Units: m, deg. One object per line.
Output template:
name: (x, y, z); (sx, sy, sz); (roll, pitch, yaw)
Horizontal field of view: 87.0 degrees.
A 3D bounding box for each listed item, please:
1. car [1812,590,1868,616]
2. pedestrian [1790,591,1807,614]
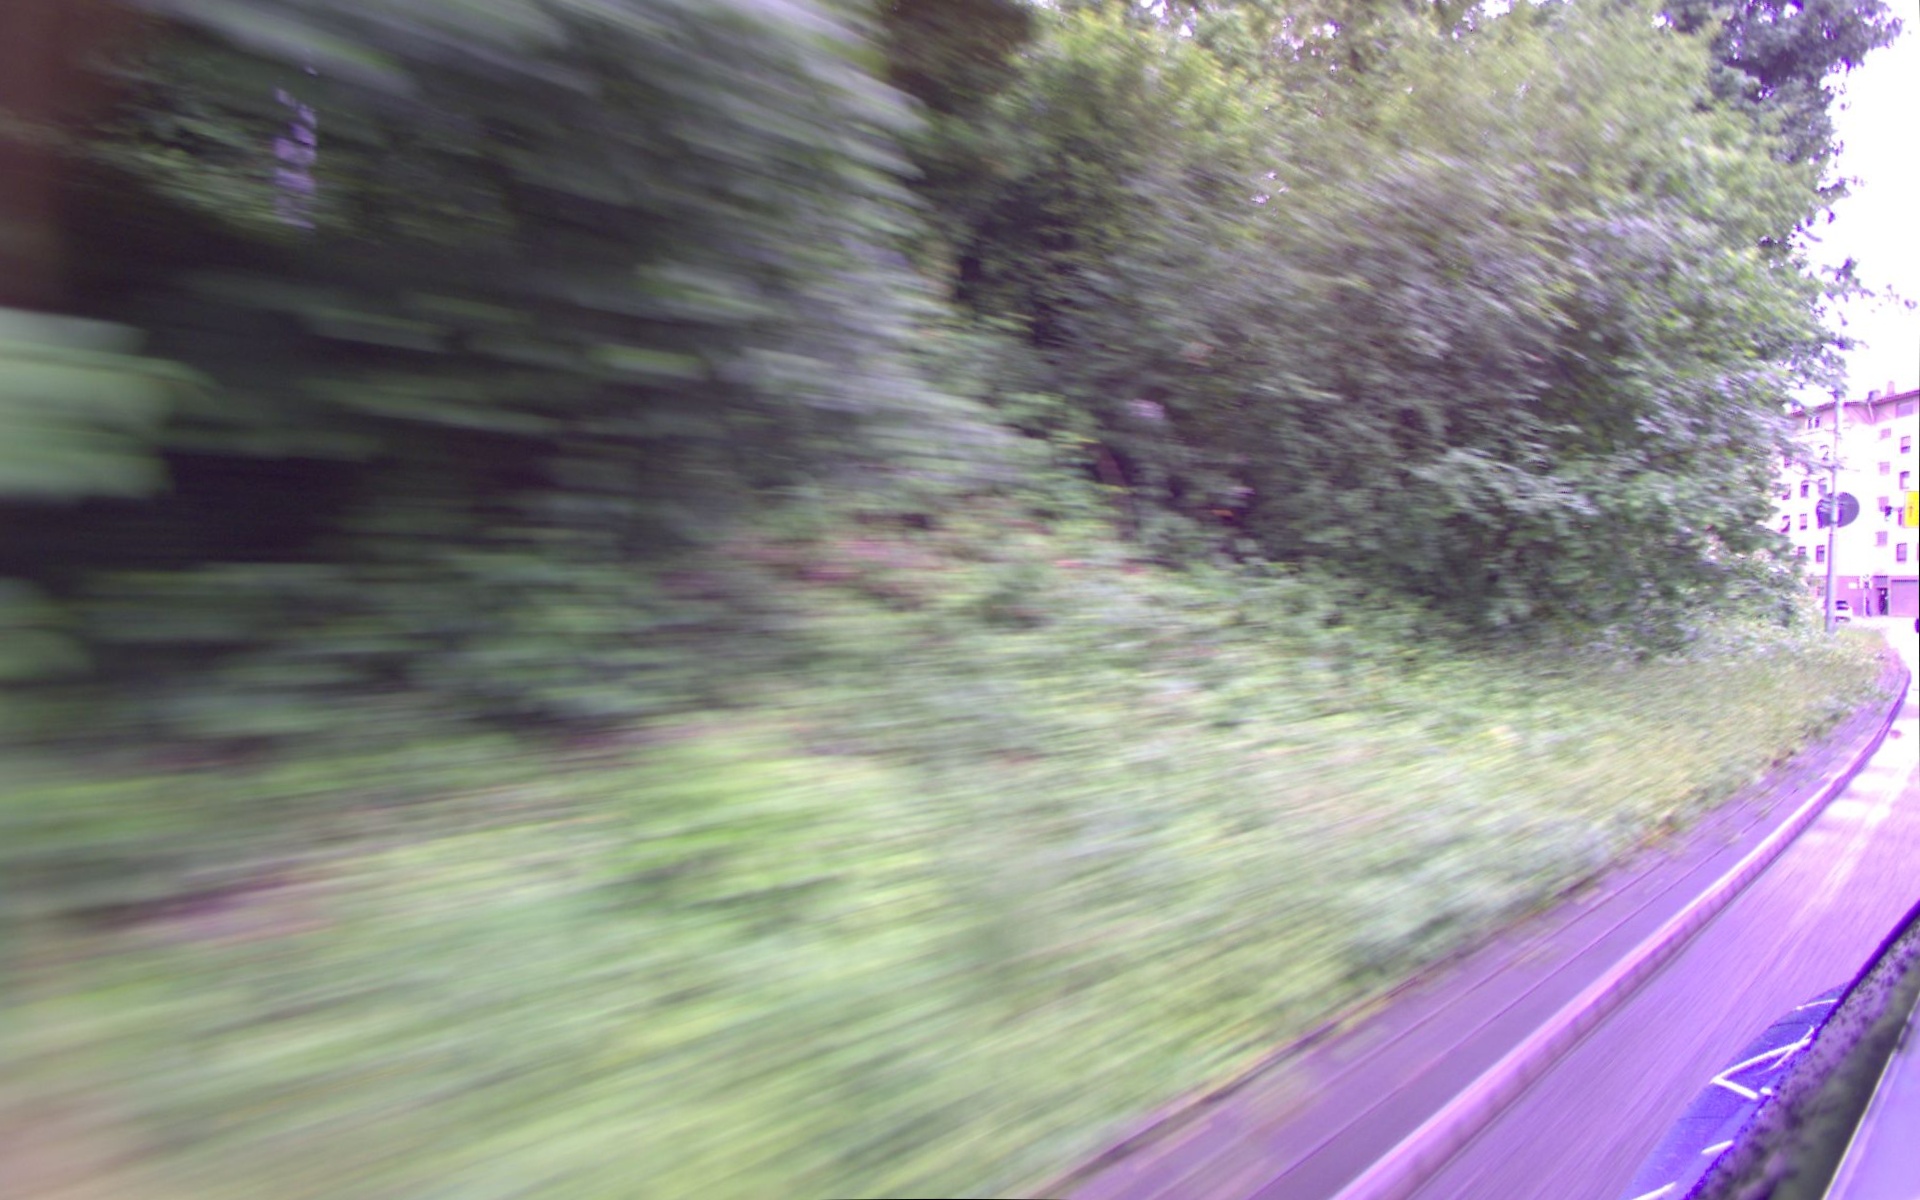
car: (57.735, 0.166, 66.463); (1.774, 1.514, 4.176); (3, 2, 27)
pedestrian: (72.925, 0.231, 88.056); (0.798, 2.039, 0.855); (1, -1, 12)
